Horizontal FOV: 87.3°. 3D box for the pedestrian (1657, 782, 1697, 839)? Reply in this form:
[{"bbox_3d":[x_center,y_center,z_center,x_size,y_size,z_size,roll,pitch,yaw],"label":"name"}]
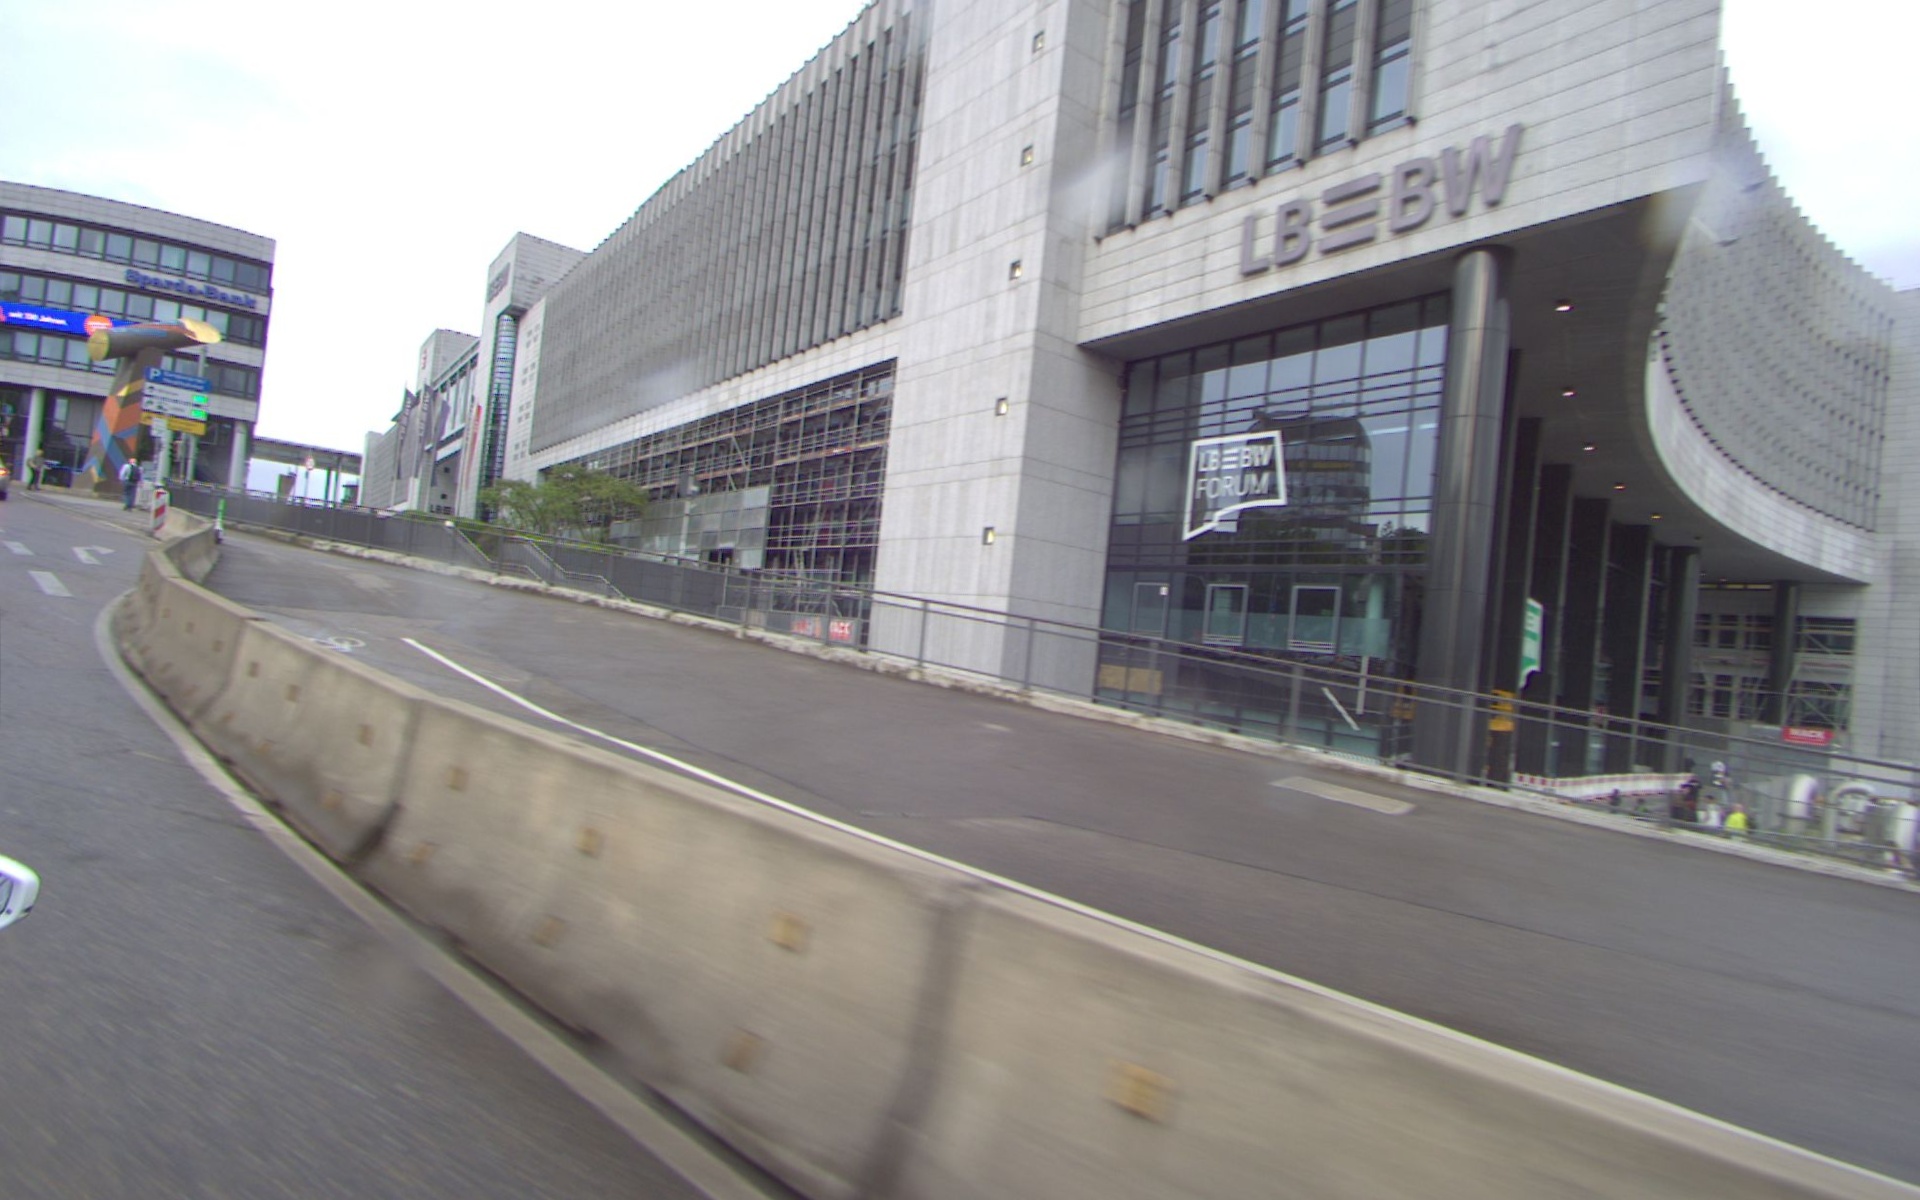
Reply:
[{"bbox_3d":[23.704,6.937,33.266,0.854,1.656,1.007,6,-1,31],"label":"pedestrian"}]

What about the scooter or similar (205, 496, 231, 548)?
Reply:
[{"bbox_3d":[-17.627,-1.863,23.897,0.347,1.176,0.566,7,0,-41],"label":"scooter or similar"}]

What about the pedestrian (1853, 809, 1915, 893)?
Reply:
[{"bbox_3d":[22.571,6.120,24.573,0.742,1.837,0.642,6,-1,3],"label":"pedestrian"}]

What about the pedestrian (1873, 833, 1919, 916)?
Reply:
[{"bbox_3d":[21.749,6.265,22.950,0.859,1.656,1.002,7,-1,-27],"label":"pedestrian"}]

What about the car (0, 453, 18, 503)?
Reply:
[{"bbox_3d":[-31.197,-3.987,31.542,4.548,1.468,1.701,7,-1,39],"label":"car"}]

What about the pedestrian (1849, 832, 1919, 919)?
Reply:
[{"bbox_3d":[20.769,6.139,22.478,0.859,1.656,1.002,7,-1,-27],"label":"pedestrian"}]

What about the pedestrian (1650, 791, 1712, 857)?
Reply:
[{"bbox_3d":[20.815,6.454,29.057,0.855,1.656,1.006,7,-1,-12],"label":"pedestrian"}]

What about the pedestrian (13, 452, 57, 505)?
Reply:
[{"bbox_3d":[-41.627,-5.453,45.297,0.887,2.122,0.856,9,-1,11],"label":"pedestrian"}]

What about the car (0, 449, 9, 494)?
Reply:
[{"bbox_3d":[-35.973,-4.818,36.229,1.762,1.654,4.535,8,0,-36],"label":"car"}]

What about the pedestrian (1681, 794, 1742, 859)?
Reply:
[{"bbox_3d":[21.895,6.590,29.302,0.857,1.656,1.003,7,-1,-22],"label":"pedestrian"}]

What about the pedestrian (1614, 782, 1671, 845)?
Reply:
[{"bbox_3d":[20.806,6.506,30.674,0.854,1.656,1.007,6,-1,-7],"label":"pedestrian"}]

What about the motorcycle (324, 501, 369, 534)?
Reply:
[{"bbox_3d":[-30.299,-4.058,49.677,0.596,1.371,1.728,8,1,26],"label":"motorcycle"}]

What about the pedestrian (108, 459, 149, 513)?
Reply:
[{"bbox_3d":[-28.477,-3.899,34.452,0.829,1.731,0.730,6,-1,33],"label":"pedestrian"}]

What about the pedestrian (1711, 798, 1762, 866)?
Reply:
[{"bbox_3d":[21.183,6.328,27.466,0.727,1.656,0.654,6,-1,3],"label":"pedestrian"}]
